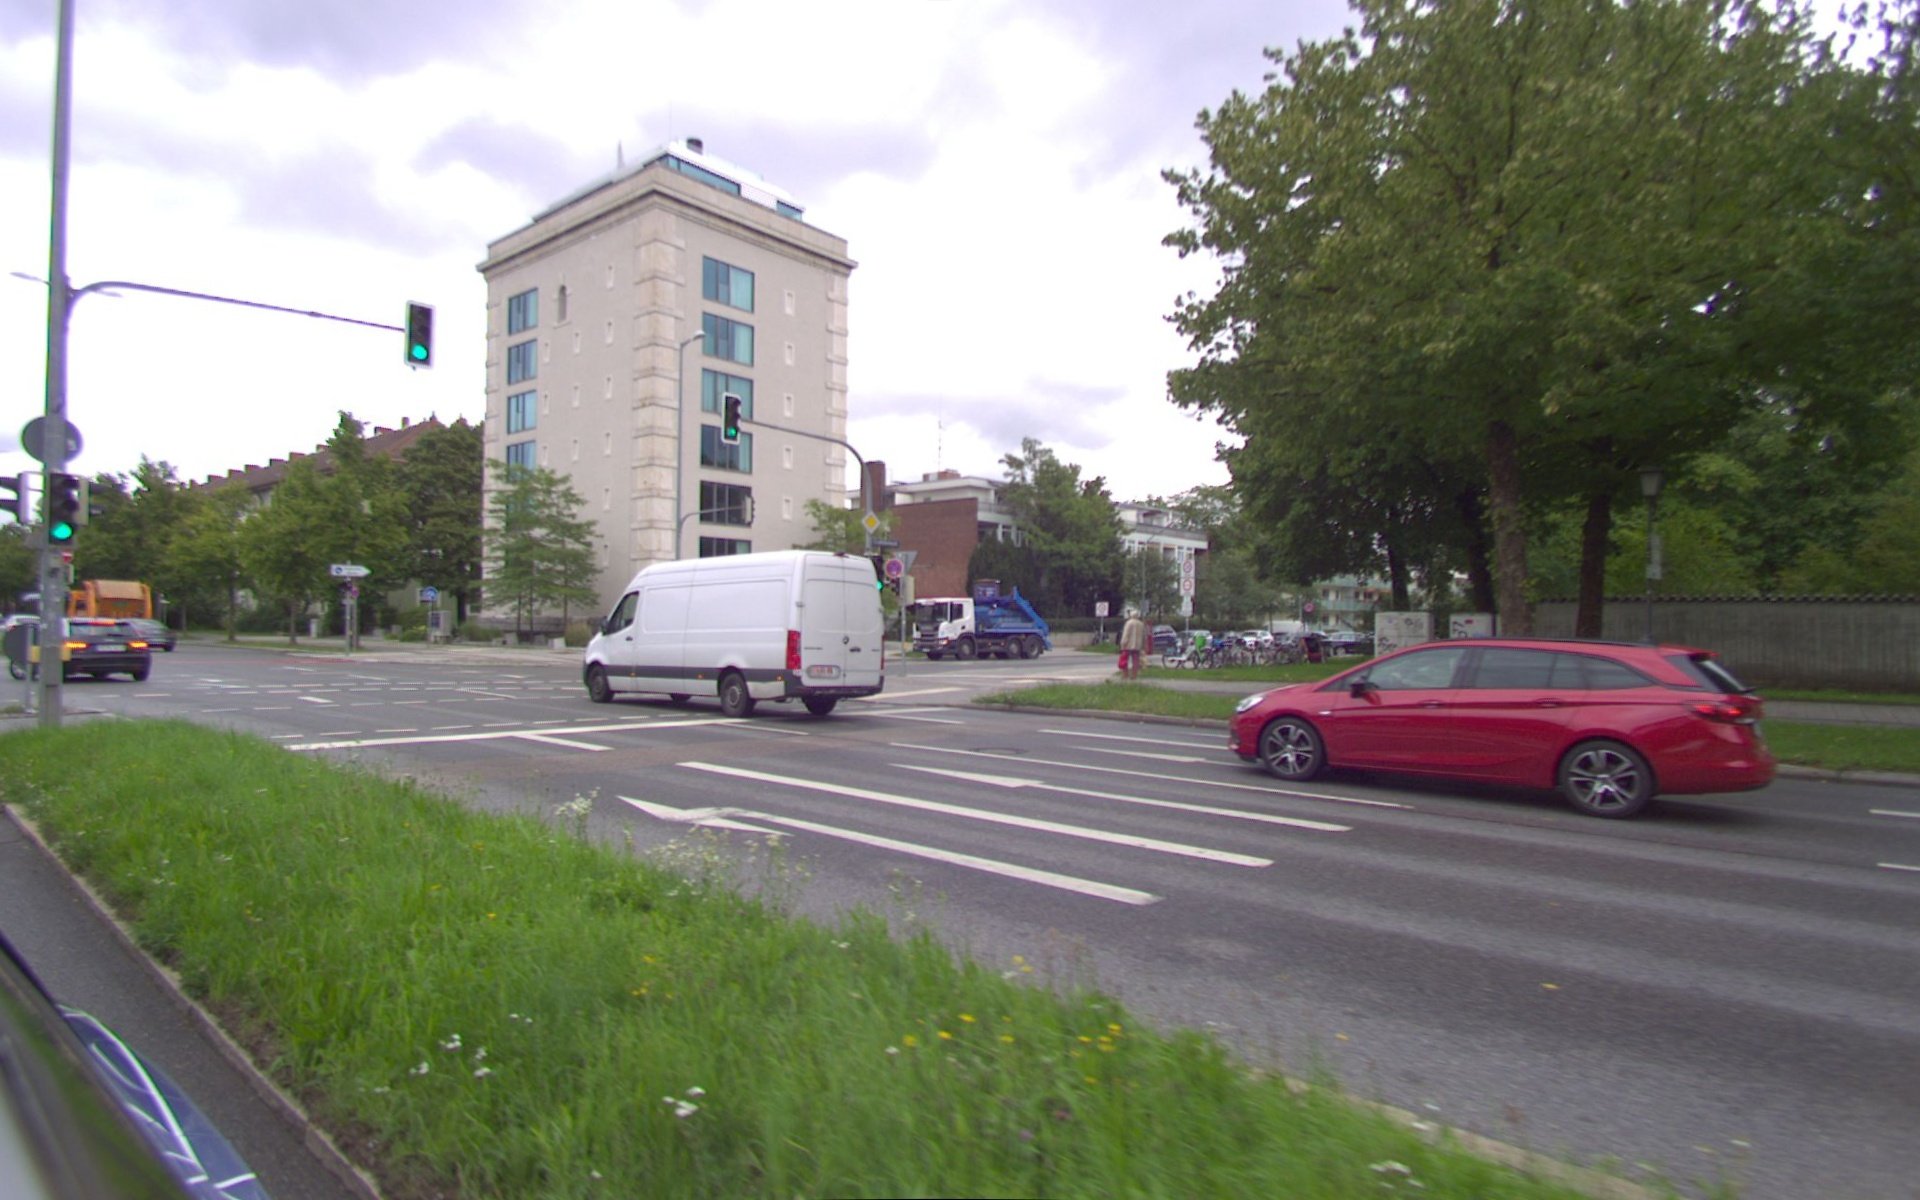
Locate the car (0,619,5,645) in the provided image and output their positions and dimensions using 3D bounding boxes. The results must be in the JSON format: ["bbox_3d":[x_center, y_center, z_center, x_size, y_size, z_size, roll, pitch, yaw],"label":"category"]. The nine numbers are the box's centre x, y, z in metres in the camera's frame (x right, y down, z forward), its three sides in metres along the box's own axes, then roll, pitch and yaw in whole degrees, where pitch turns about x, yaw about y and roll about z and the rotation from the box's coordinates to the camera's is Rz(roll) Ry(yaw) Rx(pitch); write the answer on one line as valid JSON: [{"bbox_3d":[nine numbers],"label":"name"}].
[{"bbox_3d":[-60.020,1.868,61.863,4.748,1.553,1.842,-1,-5,42],"label":"car"}]

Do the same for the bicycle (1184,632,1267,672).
[{"bbox_3d":[8.562,1.658,32.708,2.494,1.195,0.827,-1,-2,40],"label":"bicycle"}]

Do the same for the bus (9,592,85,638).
[{"bbox_3d":[-71.983,1.177,79.658,12.039,3.369,2.717,-1,-3,40],"label":"bus"}]

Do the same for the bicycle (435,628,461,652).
[{"bbox_3d":[-26.453,2.062,52.310,1.825,1.190,0.539,-1,-1,40],"label":"bicycle"}]

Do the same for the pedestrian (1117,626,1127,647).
[{"bbox_3d":[11.478,2.579,71.646,0.543,1.425,0.596,-1,-1,31],"label":"pedestrian"}]

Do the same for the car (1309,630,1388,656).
[{"bbox_3d":[23.238,2.542,60.619,4.199,1.427,1.907,-1,-1,30],"label":"car"}]

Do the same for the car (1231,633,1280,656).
[{"bbox_3d":[21.592,3.205,73.926,1.926,1.603,4.158,-1,-2,41],"label":"car"}]

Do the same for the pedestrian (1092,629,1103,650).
[{"bbox_3d":[9.452,2.725,69.647,0.545,1.425,0.595,1,-1,37],"label":"pedestrian"}]

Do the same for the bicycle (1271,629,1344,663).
[{"bbox_3d":[13.006,1.706,37.925,2.494,1.195,0.827,-1,-2,40],"label":"bicycle"}]

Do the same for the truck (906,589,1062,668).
[{"bbox_3d":[1.285,1.346,48.989,7.702,3.515,2.776,1,-2,-41],"label":"truck"}]

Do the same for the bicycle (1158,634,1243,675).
[{"bbox_3d":[7.498,1.687,31.680,2.494,1.195,0.827,-1,-2,40],"label":"bicycle"}]

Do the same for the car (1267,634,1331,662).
[{"bbox_3d":[18.446,2.567,55.032,1.844,1.427,4.157,-1,-2,41],"label":"car"}]

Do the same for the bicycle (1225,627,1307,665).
[{"bbox_3d":[10.181,1.524,33.722,2.494,1.195,0.827,-1,-2,40],"label":"bicycle"}]

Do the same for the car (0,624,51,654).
[{"bbox_3d":[-49.392,2.029,53.276,4.740,1.498,1.709,-1,-2,41],"label":"car"}]

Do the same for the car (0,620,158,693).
[{"bbox_3d":[-19.780,1.215,22.651,3.766,1.498,1.628,0,-1,30],"label":"car"}]

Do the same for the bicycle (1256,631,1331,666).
[{"bbox_3d":[12.244,1.771,37.235,2.494,1.195,0.827,-1,-2,40],"label":"bicycle"}]

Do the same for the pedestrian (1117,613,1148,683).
[{"bbox_3d":[4.420,1.212,25.912,0.516,1.753,0.701,-1,-2,36],"label":"pedestrian"}]

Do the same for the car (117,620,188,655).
[{"bbox_3d":[-35.259,1.616,44.143,4.214,1.427,1.705,-1,-3,42],"label":"car"}]

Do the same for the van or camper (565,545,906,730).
[{"bbox_3d":[-4.190,0.636,17.758,6.949,2.667,2.154,-1,-3,42],"label":"van or camper"}]

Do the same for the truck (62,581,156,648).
[{"bbox_3d":[-46.067,0.789,54.730,7.262,3.382,2.751,-1,-2,41],"label":"truck"}]

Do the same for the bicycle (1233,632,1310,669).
[{"bbox_3d":[11.179,1.801,36.405,2.494,1.195,0.827,1,-3,40],"label":"bicycle"}]

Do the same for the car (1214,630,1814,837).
[{"bbox_3d":[4.906,1.046,9.455,4.655,1.463,1.725,-1,-4,41],"label":"car"}]

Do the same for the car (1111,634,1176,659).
[{"bbox_3d":[11.289,2.839,62.081,1.927,1.427,4.154,-1,-2,44],"label":"car"}]
